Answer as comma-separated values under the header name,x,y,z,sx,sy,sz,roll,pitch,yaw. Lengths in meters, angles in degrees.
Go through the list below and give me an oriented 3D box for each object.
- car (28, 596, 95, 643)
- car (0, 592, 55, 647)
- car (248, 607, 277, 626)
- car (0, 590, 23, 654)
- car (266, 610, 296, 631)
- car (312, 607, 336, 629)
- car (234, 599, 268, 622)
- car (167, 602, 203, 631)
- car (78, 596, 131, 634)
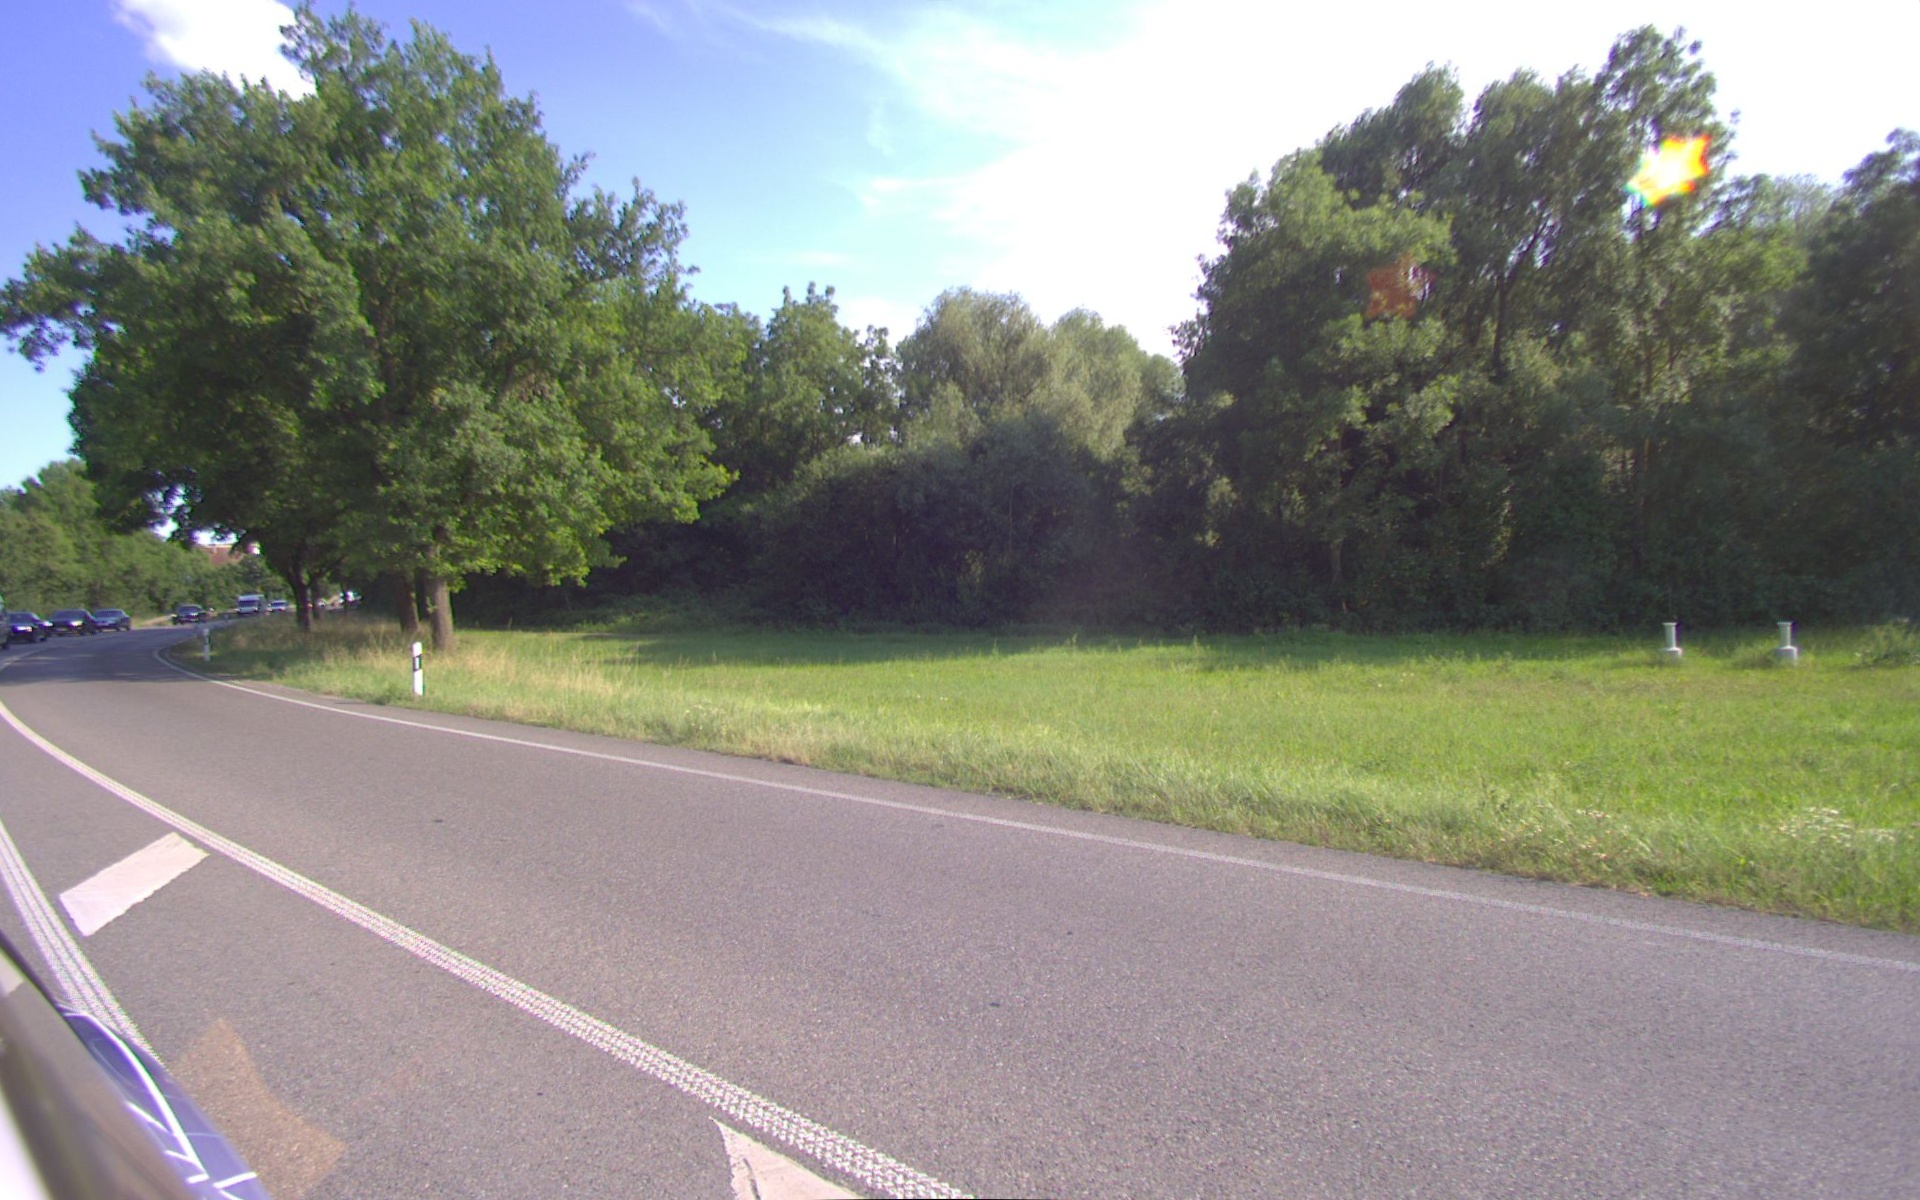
name,x,y,z,sx,sy,sz,roll,pitch,yaw
car,-50.572,1.044,57.040,2.055,2.435,5.156,-1,1,-33
car,-44.135,0.892,47.231,2.055,2.435,5.156,-1,1,-33
car,-93.576,2.195,135.845,2.054,2.435,5.159,-1,1,-22
car,-37.934,0.861,38.644,2.054,2.435,5.158,-1,1,-31
car,-86.127,2.591,128.428,2.054,2.435,5.159,-1,1,-22
car,-75.676,2.117,120.395,2.054,2.435,5.158,-1,1,-29
car,-79.613,1.186,113.722,2.054,2.435,5.159,-1,1,-22
car,-66.881,1.384,87.373,2.055,2.435,5.156,-1,1,-33
car,-56.664,0.951,67.127,2.055,2.435,5.156,-1,1,-33
